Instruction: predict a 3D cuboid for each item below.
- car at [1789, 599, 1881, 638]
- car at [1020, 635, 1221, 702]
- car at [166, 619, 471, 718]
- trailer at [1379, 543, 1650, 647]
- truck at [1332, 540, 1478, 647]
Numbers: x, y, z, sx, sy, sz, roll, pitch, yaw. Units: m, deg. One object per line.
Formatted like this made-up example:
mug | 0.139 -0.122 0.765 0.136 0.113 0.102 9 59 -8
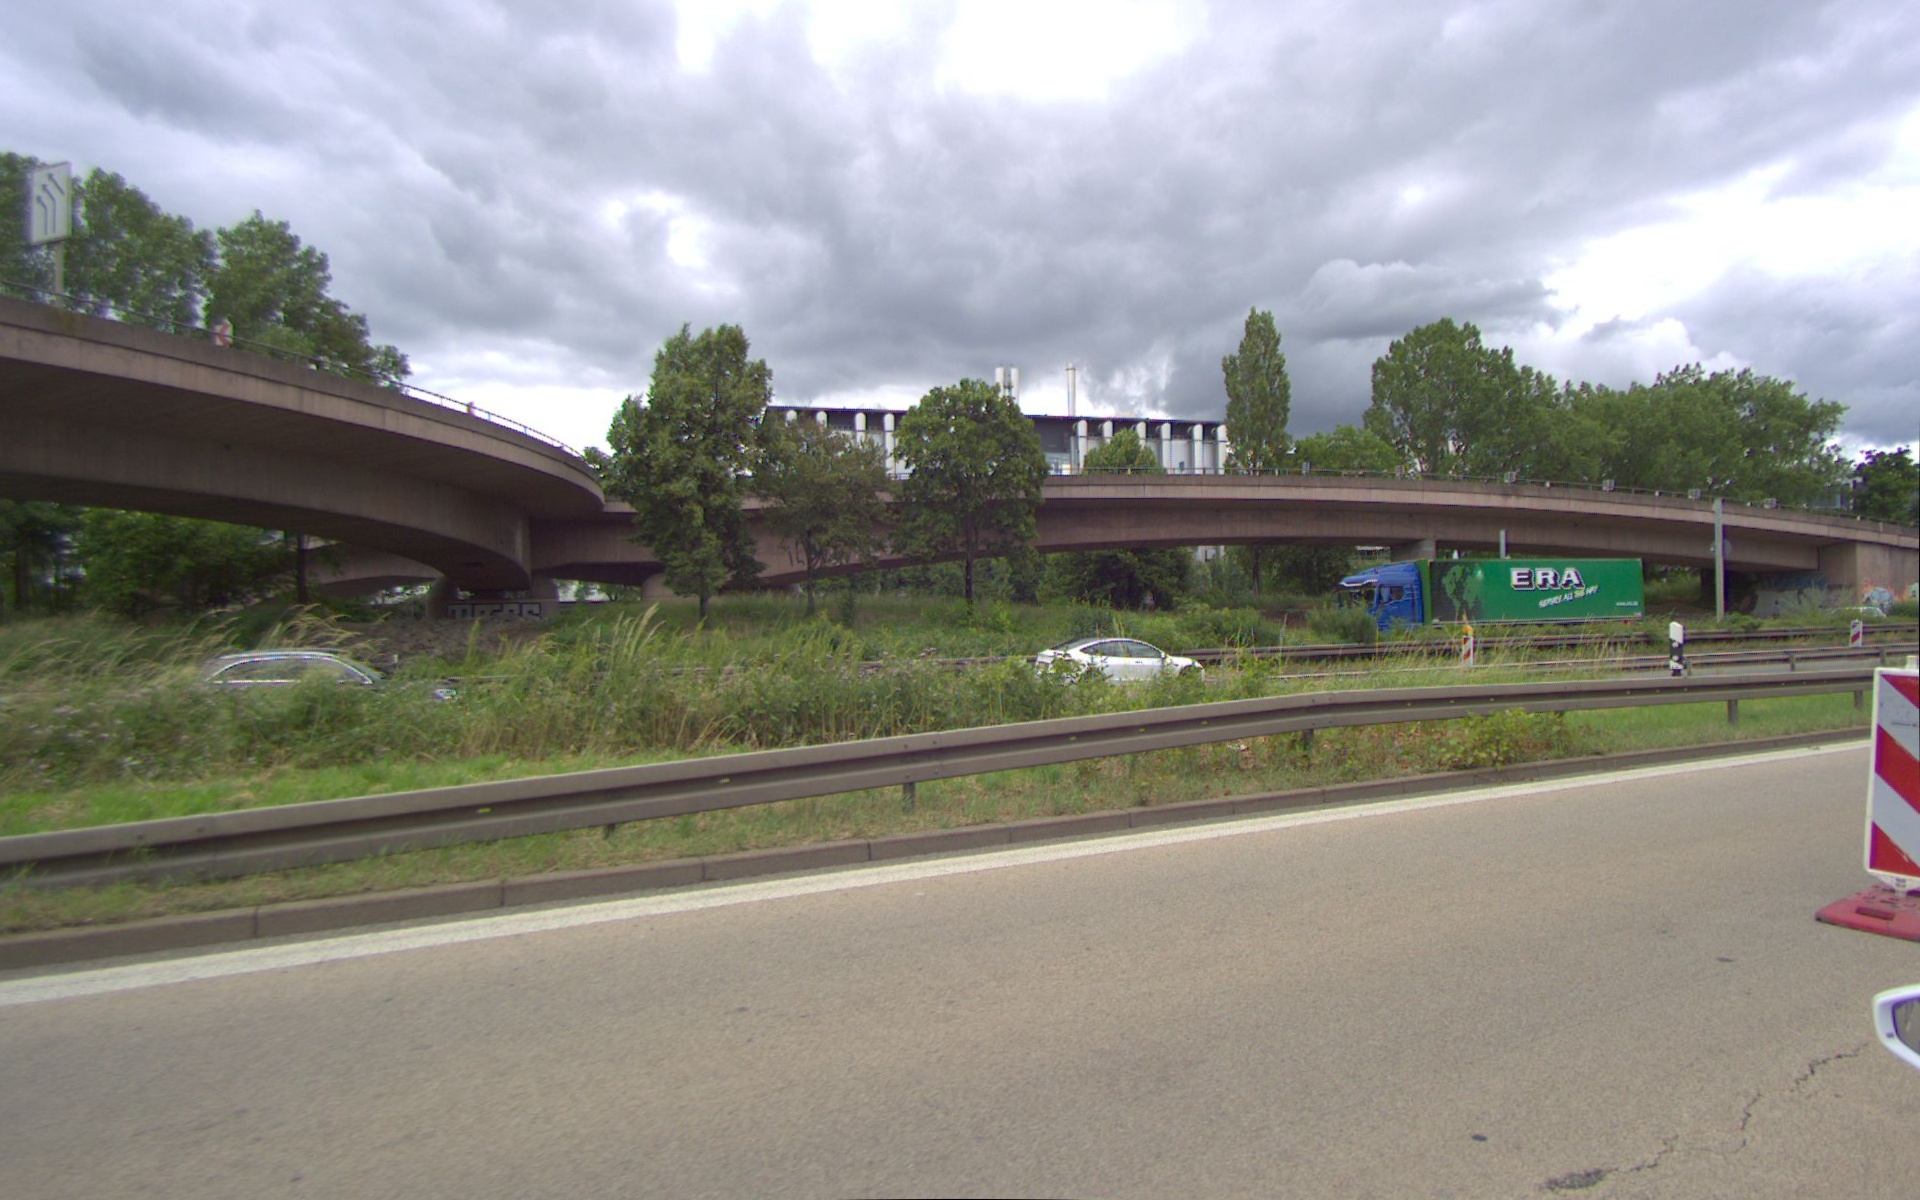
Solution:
car | 46.923 0.975 53.870 3.937 2.040 1.992 0 0 -18
car | 4.086 1.685 25.583 4.729 1.475 1.990 0 0 -21
car | -11.895 1.213 19.046 4.509 1.636 2.034 0 0 -21
trailer | 25.375 -0.199 45.630 13.775 4.351 2.766 0 0 -22
truck | 19.029 -0.245 43.001 5.421 4.329 2.748 0 0 -22
